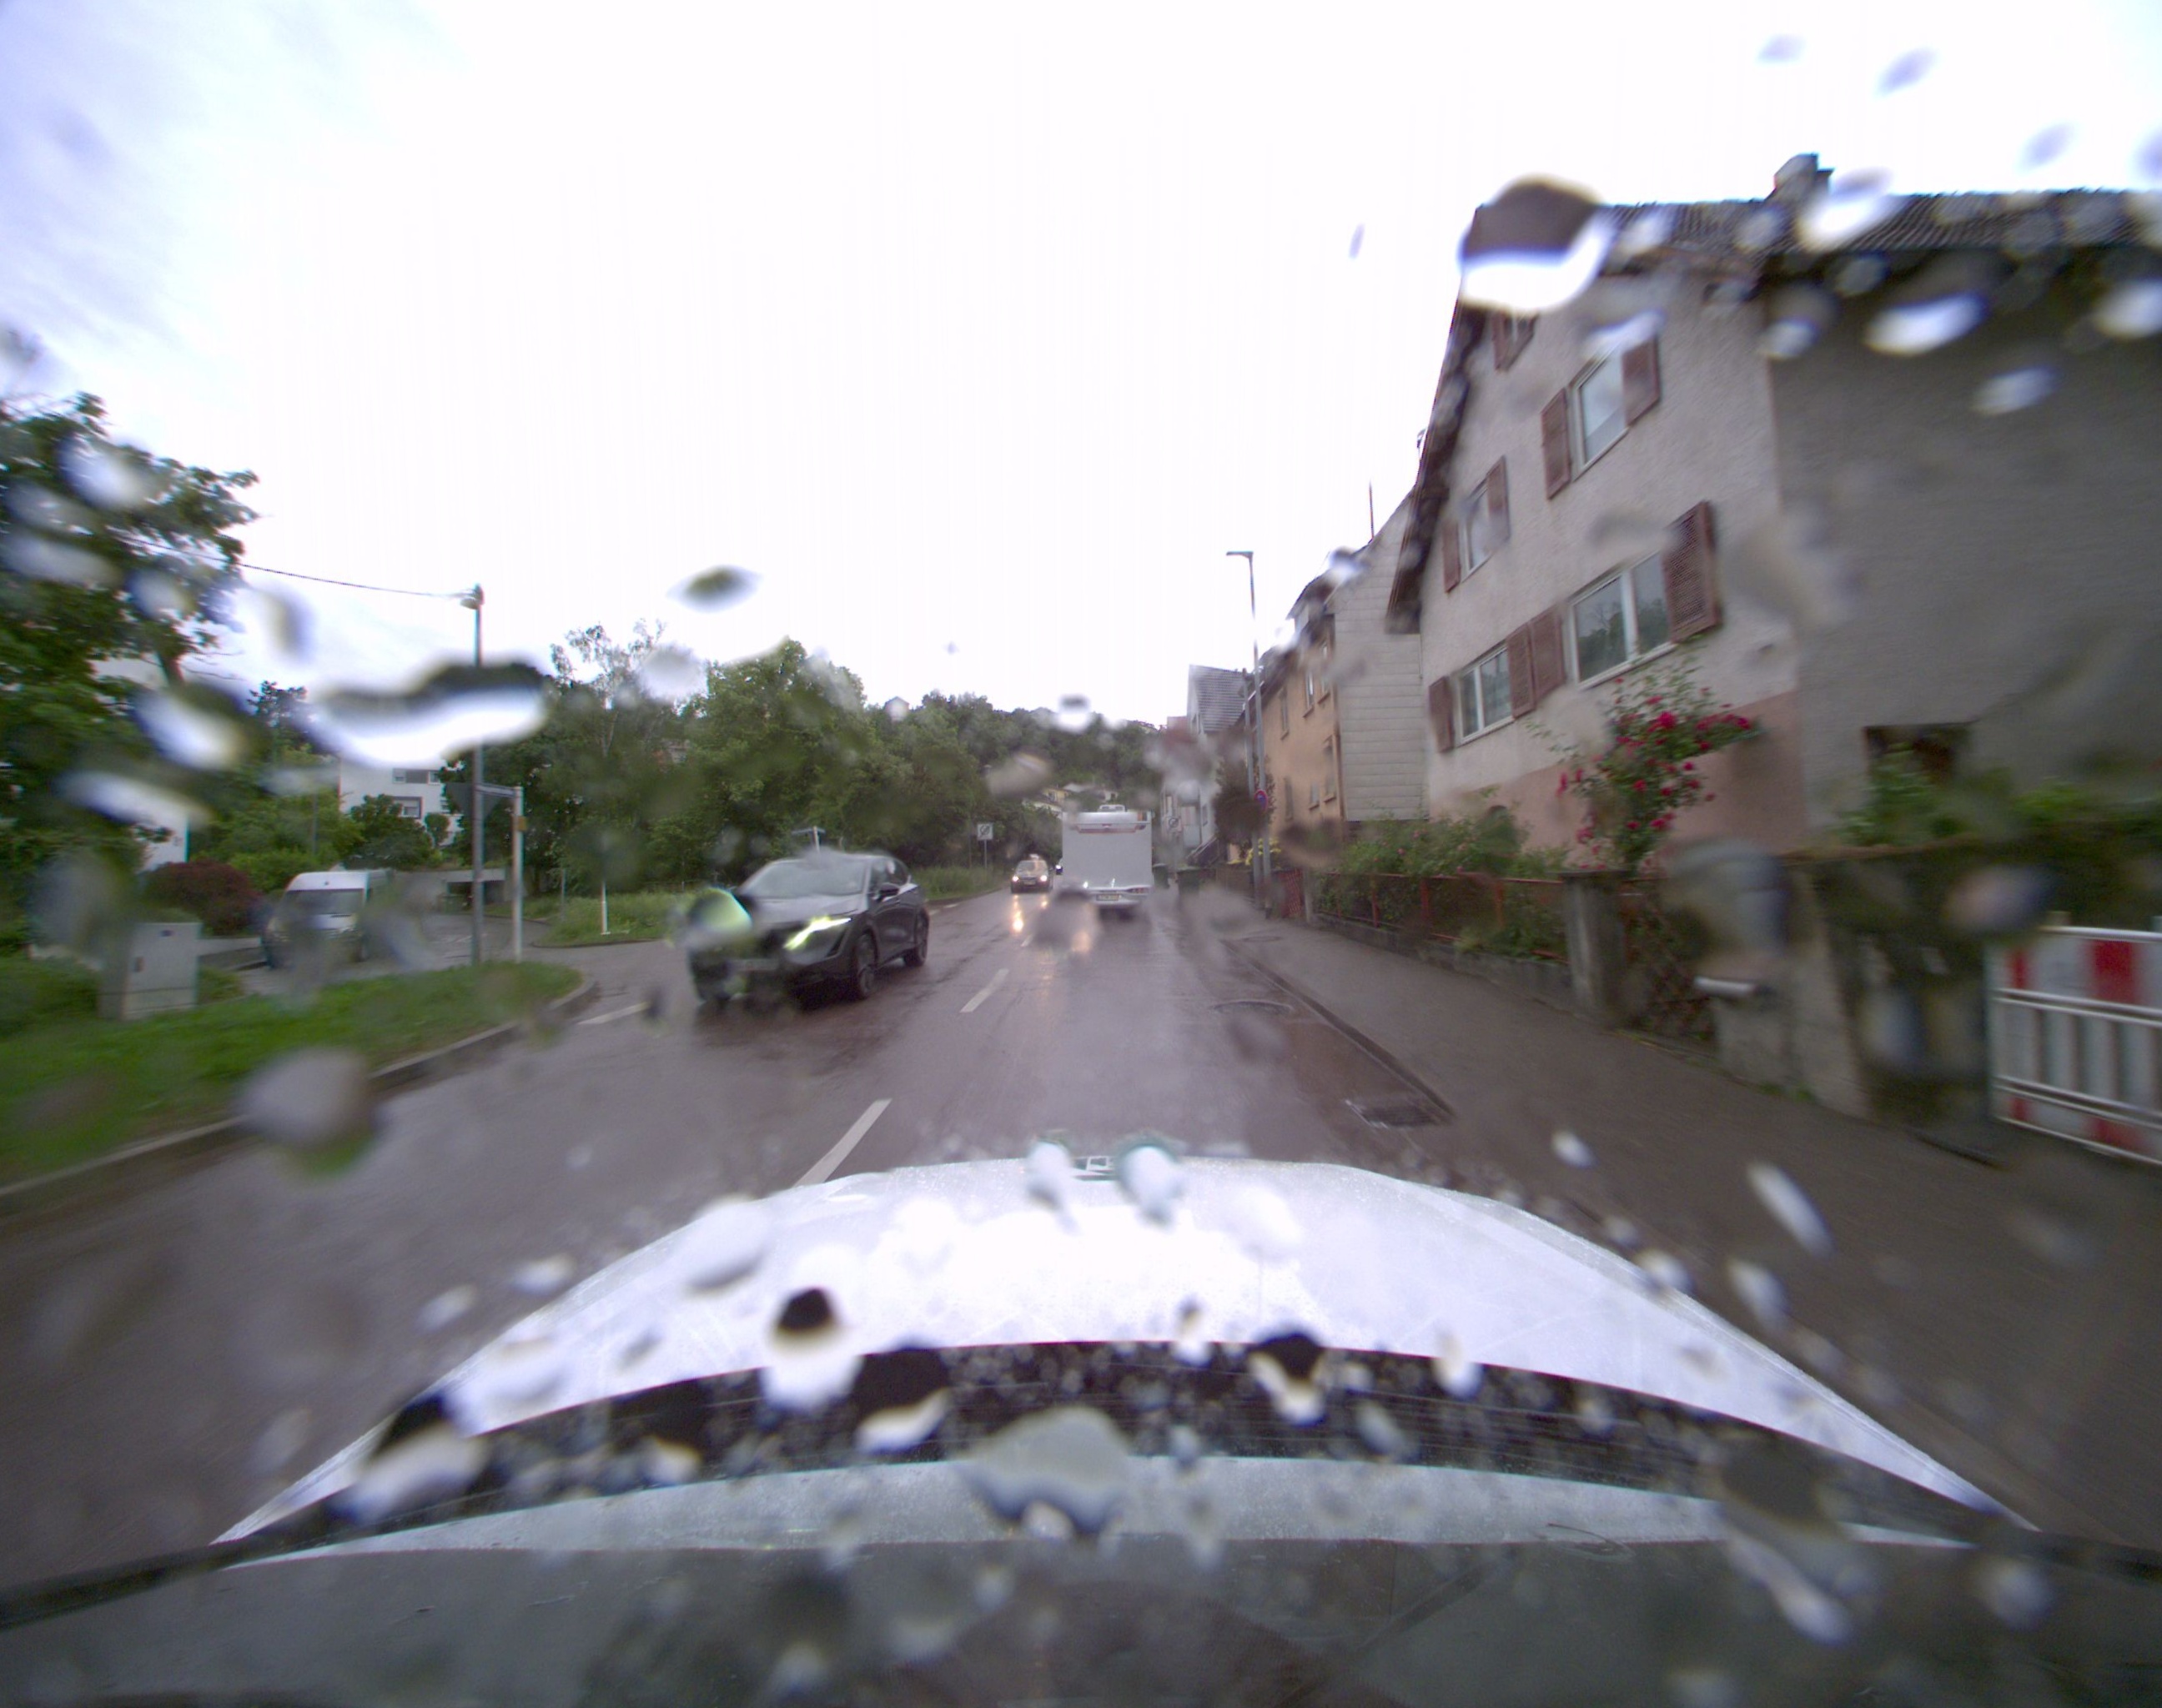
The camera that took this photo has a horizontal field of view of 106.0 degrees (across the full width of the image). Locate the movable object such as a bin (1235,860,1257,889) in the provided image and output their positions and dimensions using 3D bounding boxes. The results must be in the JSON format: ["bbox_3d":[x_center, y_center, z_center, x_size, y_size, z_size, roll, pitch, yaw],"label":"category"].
[{"bbox_3d":[6.536,0.799,32.335,0.658,1.093,0.655,-4,-1,0],"label":"movable object such as a bin"}]

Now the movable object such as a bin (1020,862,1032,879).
[{"bbox_3d":[-3.783,1.139,56.138,0.718,1.100,0.758,0,-1,2],"label":"movable object such as a bin"}]

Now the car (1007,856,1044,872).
[{"bbox_3d":[-6.497,1.213,95.691,4.088,1.800,2.002,-1,0,3],"label":"car"}]

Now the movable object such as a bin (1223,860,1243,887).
[{"bbox_3d":[6.507,0.845,34.946,0.658,1.093,0.545,-5,-1,-1],"label":"movable object such as a bin"}]

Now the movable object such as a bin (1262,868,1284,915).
[{"bbox_3d":[4.284,0.823,18.179,0.378,1.018,0.487,-1,-1,2],"label":"movable object such as a bin"}]

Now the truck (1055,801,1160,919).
[{"bbox_3d":[0.752,0.161,22.769,2.506,2.817,6.204,-1,0,2],"label":"truck"}]

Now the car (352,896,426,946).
[{"bbox_3d":[-25.137,2.389,29.696,1.566,1.548,3.997,-1,-1,-33],"label":"car"}]

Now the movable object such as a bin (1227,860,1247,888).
[{"bbox_3d":[6.576,0.841,34.290,0.643,1.093,0.545,-5,-1,-1],"label":"movable object such as a bin"}]

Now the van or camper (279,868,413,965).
[{"bbox_3d":[-22.098,1.723,24.749,1.646,2.557,6.008,1,-1,-29],"label":"van or camper"}]

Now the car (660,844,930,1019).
[{"bbox_3d":[-3.203,0.768,10.165,1.745,1.689,4.376,-1,0,1],"label":"car"}]

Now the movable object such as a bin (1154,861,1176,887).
[{"bbox_3d":[3.619,0.856,35.173,0.910,1.103,0.703,-1,-1,3],"label":"movable object such as a bin"}]

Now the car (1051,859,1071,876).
[{"bbox_3d":[-1.711,1.194,71.287,1.714,1.430,3.843,-1,0,-1],"label":"car"}]

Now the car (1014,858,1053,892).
[{"bbox_3d":[-2.136,0.933,37.502,1.556,1.454,4.083,-1,0,-1],"label":"car"}]

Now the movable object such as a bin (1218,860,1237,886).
[{"bbox_3d":[6.612,0.867,36.764,0.658,1.093,0.545,-5,-1,-1],"label":"movable object such as a bin"}]

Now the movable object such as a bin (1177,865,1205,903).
[{"bbox_3d":[3.149,0.861,23.369,0.716,1.052,0.801,-1,-1,4],"label":"movable object such as a bin"}]
